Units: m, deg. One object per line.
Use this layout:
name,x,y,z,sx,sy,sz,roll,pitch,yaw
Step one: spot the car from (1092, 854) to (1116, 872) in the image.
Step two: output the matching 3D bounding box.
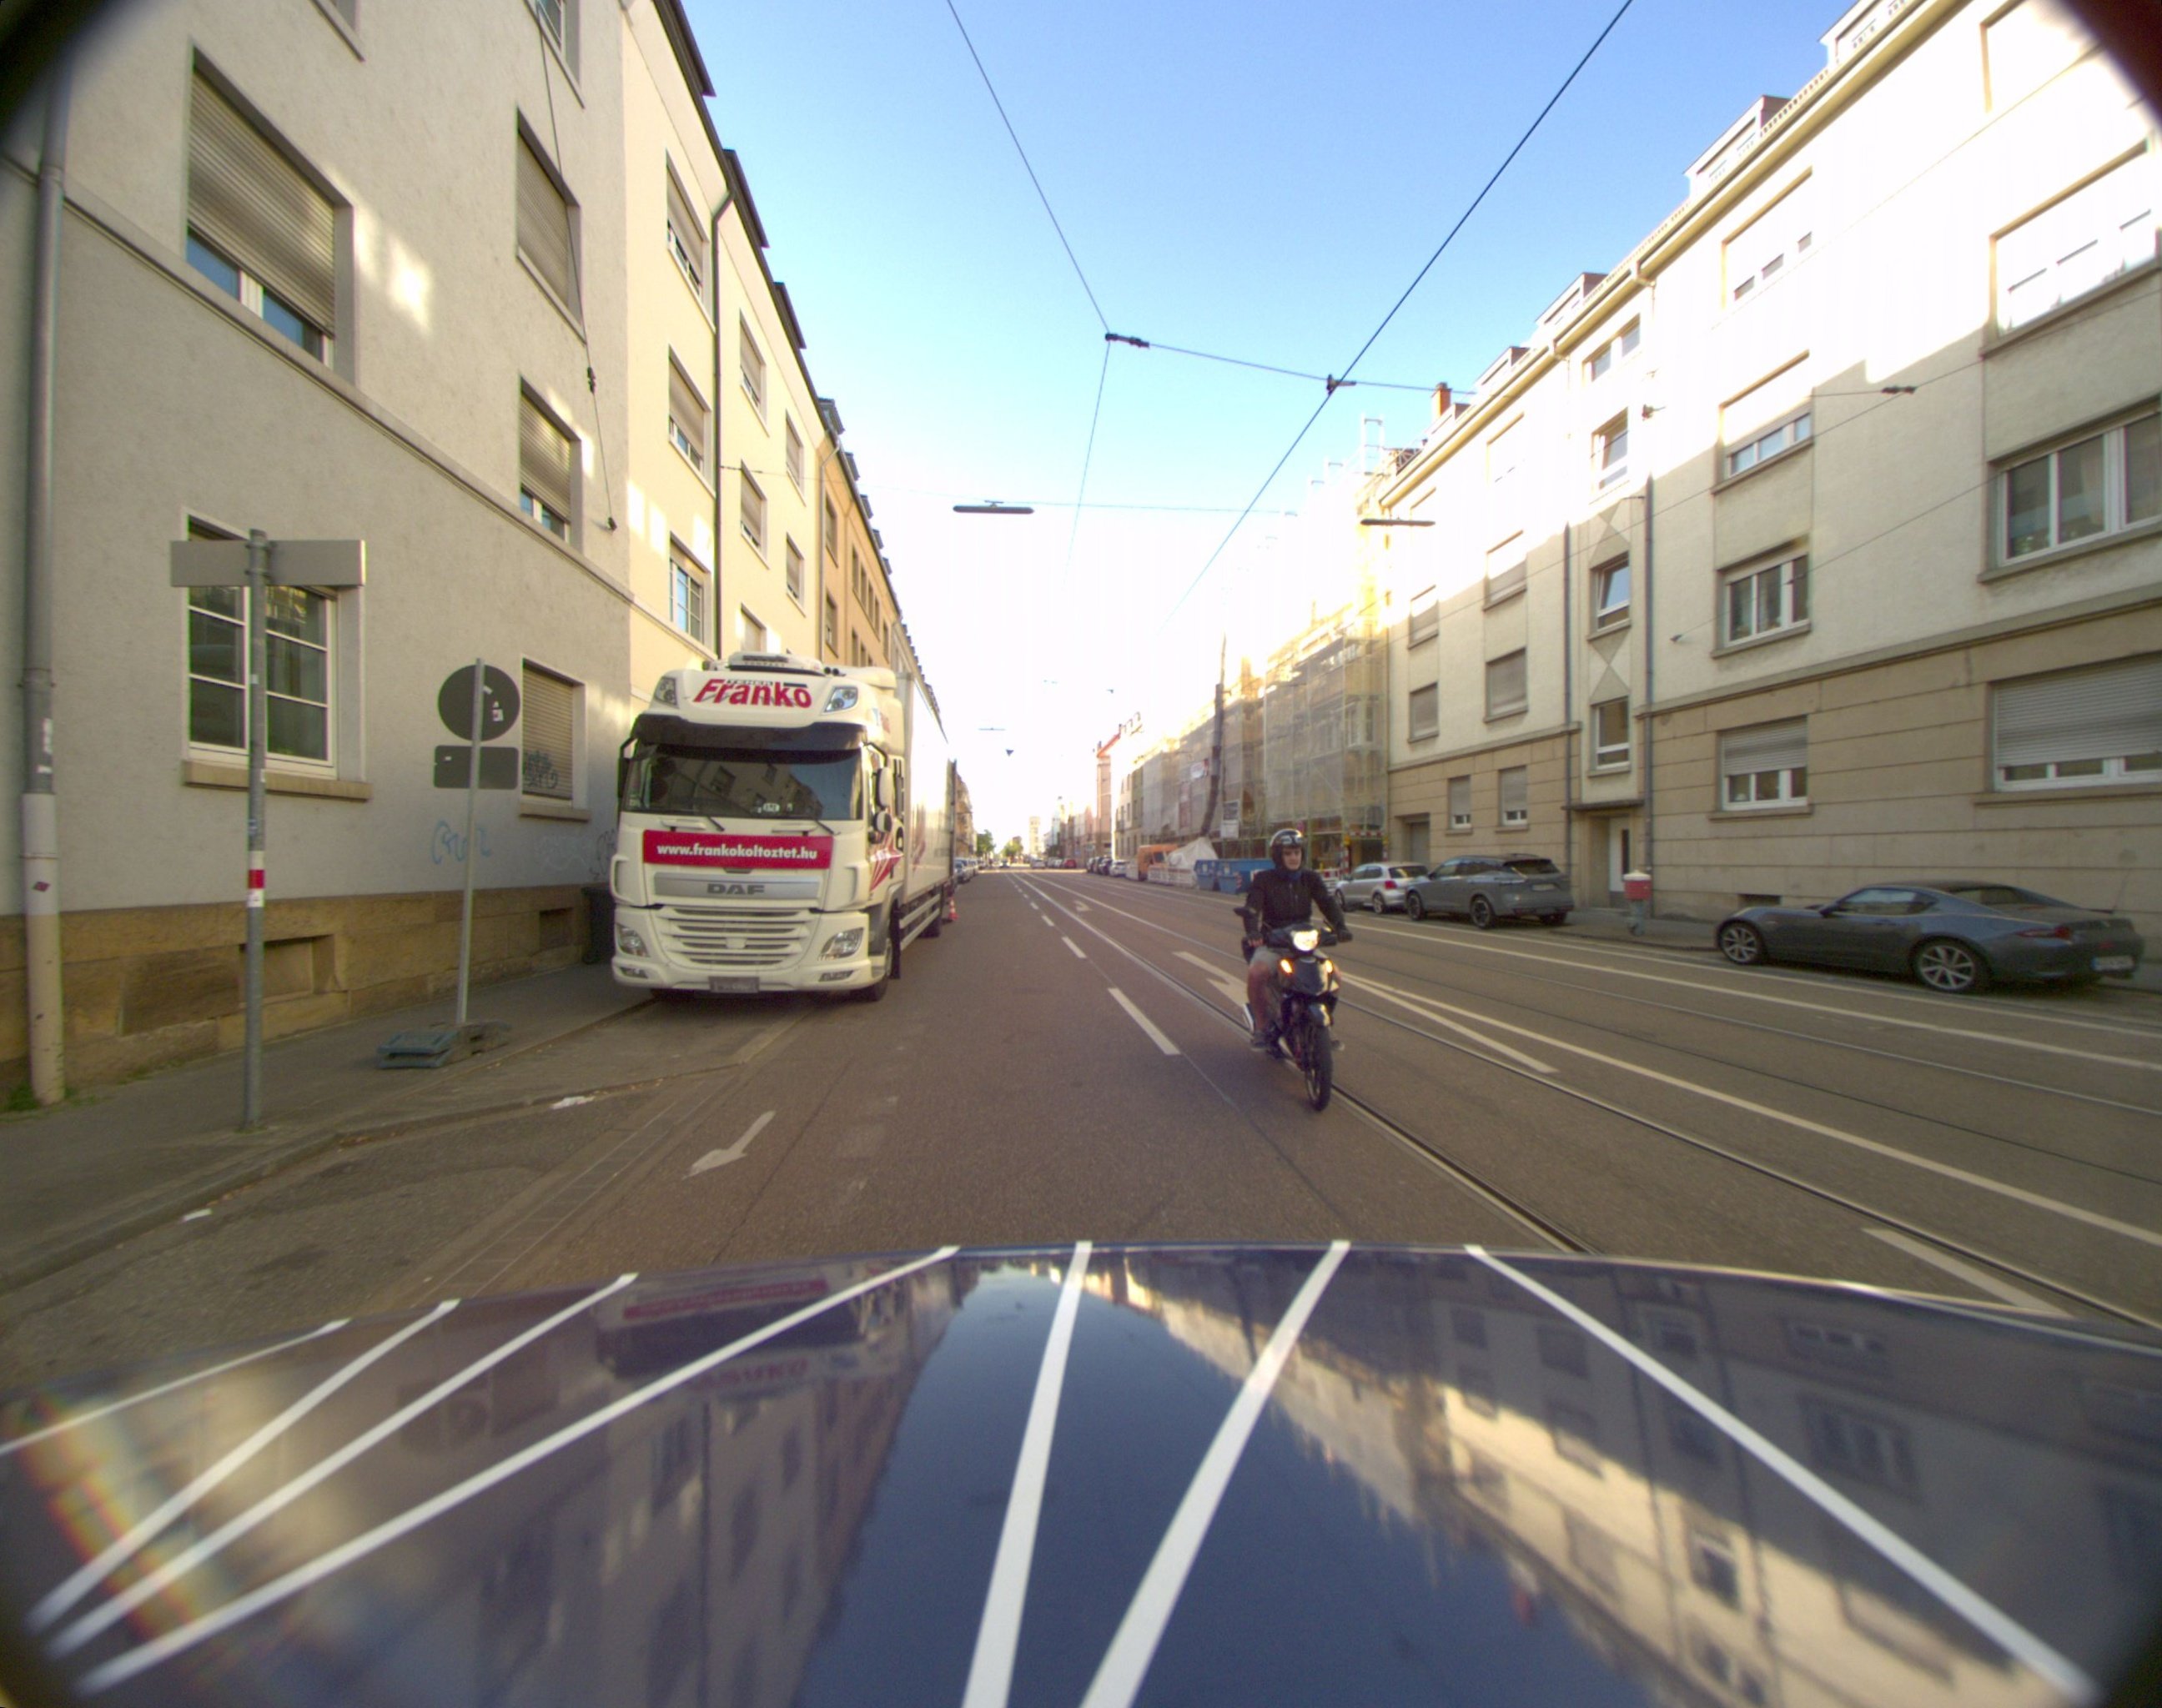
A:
car,2.369,0.908,79.232,1.799,1.836,3.767,-2,0,-7

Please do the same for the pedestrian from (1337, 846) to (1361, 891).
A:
pedestrian,10.280,0.551,29.125,0.582,1.684,0.716,-2,1,-7

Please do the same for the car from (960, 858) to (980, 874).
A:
car,-10.581,1.098,72.450,1.704,1.496,3.861,0,0,-5

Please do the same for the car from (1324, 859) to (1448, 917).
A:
car,8.894,0.923,22.529,1.704,1.407,3.997,-3,1,-6

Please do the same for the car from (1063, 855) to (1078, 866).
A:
car,-1.542,0.977,114.531,1.799,1.494,3.767,-2,0,-7

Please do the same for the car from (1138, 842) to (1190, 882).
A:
car,5.310,0.500,49.570,2.126,2.454,5.997,0,0,-6

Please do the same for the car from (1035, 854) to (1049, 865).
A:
car,-6.050,0.796,117.008,1.826,1.559,4.198,-2,0,-8

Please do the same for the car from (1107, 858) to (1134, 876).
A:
car,3.466,1.094,67.118,1.752,1.502,3.998,0,0,-6

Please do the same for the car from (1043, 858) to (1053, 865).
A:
car,-7.090,1.547,163.265,1.799,1.494,3.767,-2,0,-7

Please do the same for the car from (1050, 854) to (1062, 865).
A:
car,-4.753,1.098,144.905,2.000,2.002,3.998,0,0,-7

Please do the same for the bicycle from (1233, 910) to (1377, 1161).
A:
bicycle,1.421,1.033,5.035,0.739,1.170,1.976,0,0,13

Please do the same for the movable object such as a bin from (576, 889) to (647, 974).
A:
movable object such as a bin,-6.387,1.042,10.360,0.660,1.098,0.541,0,0,-9

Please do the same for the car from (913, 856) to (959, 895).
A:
car,-6.532,0.910,34.523,1.795,1.642,4.363,1,0,-8

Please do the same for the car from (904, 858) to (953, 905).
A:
car,-5.651,0.974,28.499,1.597,1.599,4.243,1,0,-9

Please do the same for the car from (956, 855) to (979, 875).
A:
car,-9.953,0.953,66.819,1.704,1.688,4.186,1,0,-4

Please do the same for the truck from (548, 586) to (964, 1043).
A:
truck,-3.806,-0.329,12.731,2.868,4.049,11.773,0,0,-5

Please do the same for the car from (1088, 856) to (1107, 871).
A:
car,1.843,1.042,84.204,1.799,1.601,3.768,0,0,-3

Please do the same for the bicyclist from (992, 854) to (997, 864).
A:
bicyclist,-12.631,0.688,110.889,0.744,1.481,0.815,0,0,-5

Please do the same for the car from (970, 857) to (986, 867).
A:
car,-14.617,1.123,107.945,2.000,1.412,3.725,0,0,-6

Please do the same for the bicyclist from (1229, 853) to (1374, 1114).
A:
bicyclist,1.421,0.767,5.000,0.843,1.545,0.851,0,0,13

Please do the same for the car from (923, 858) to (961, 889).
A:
car,-7.083,0.961,38.905,1.613,1.454,3.478,1,0,-5

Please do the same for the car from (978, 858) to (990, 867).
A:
car,-17.604,1.516,137.778,2.000,1.630,3.998,0,0,-6

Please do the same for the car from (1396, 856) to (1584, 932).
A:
car,9.344,0.822,17.851,1.704,1.558,4.403,0,0,-6

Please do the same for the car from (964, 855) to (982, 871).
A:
car,-11.002,0.931,77.550,1.704,1.581,3.958,0,0,-6

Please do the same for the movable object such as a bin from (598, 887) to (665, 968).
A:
movable object such as a bin,-6.464,1.040,10.948,0.660,1.098,0.541,0,0,-9

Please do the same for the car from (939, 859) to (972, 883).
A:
car,-7.977,1.056,48.689,1.704,1.443,4.204,1,0,-5

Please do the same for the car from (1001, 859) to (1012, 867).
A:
car,-13.665,1.594,140.109,1.860,1.369,3.999,0,0,-3

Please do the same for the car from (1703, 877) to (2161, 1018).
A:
car,10.382,0.997,9.590,1.705,1.209,3.782,-2,1,-7

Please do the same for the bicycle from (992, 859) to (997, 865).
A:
bicycle,-12.635,1.171,110.776,0.744,0.850,1.885,0,0,-5

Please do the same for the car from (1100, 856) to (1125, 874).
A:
car,3.005,1.049,73.308,1.703,1.569,4.220,-2,0,-7

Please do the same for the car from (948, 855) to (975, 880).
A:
car,-8.602,0.956,54.856,1.714,1.683,4.587,1,0,-7

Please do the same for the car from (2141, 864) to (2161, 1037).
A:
car,10.822,0.873,5.107,1.704,1.560,3.997,-2,1,-6
